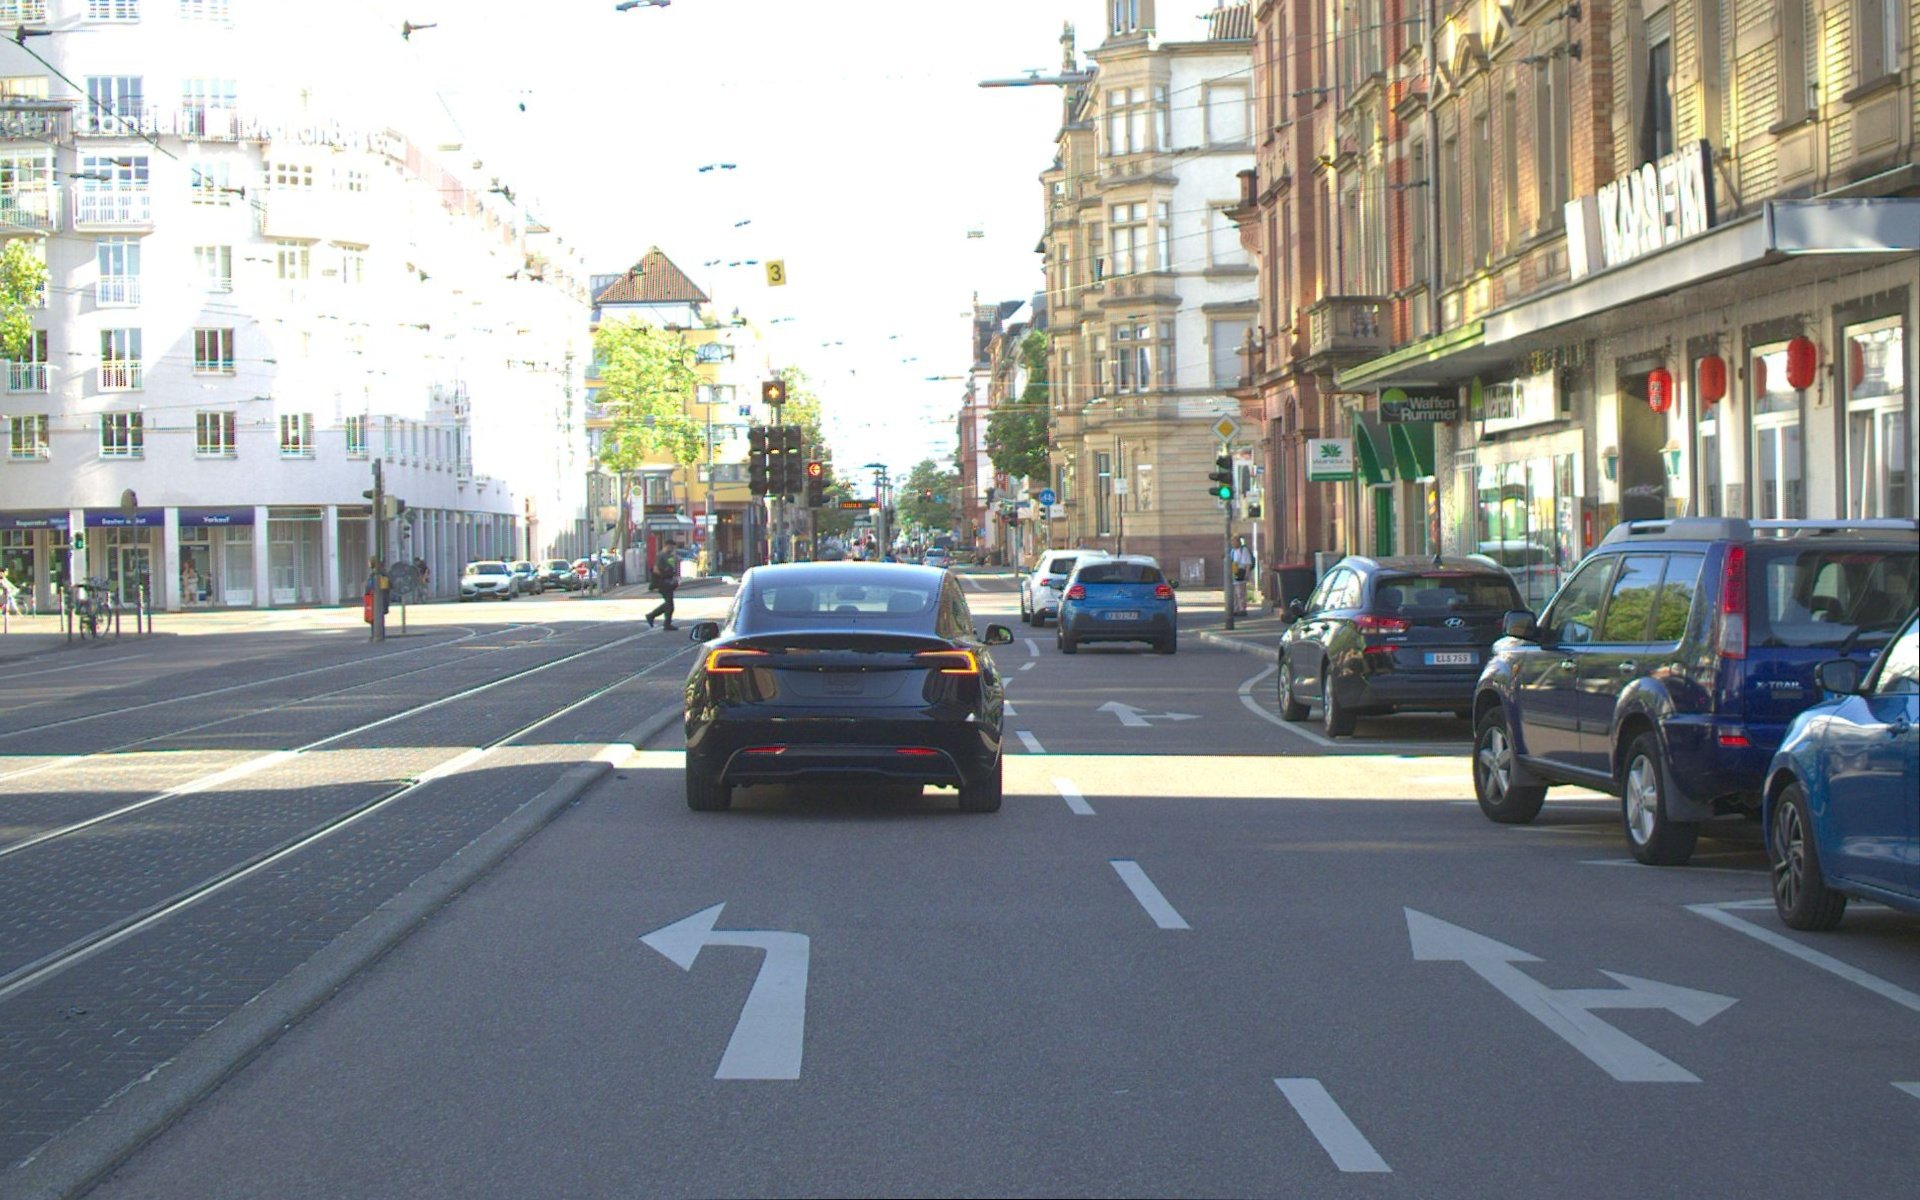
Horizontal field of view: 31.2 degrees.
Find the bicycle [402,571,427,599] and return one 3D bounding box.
[{"bbox_3d":[-19.263,-0.534,121.483,0.594,0.969,1.818,-1,0,0],"label":"bicycle"}]

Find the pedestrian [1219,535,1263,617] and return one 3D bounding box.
[{"bbox_3d":[5.562,-0.483,68.165,0.681,1.602,0.731,-1,1,-10],"label":"pedestrian"}]

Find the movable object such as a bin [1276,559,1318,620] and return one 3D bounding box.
[{"bbox_3d":[6.181,-0.197,63.102,0.663,1.069,0.591,-4,1,1],"label":"movable object such as a bin"}]

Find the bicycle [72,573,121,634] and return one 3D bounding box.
[{"bbox_3d":[-17.465,0.066,69.553,0.497,1.182,2.235,-1,1,-2],"label":"bicycle"}]

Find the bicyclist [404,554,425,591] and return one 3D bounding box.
[{"bbox_3d":[-19.264,-0.976,121.448,0.588,1.281,0.927,-1,0,0],"label":"bicyclist"}]

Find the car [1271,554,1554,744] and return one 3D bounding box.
[{"bbox_3d":[3.727,0.354,28.990,1.690,1.446,4.360,1,1,-1],"label":"car"}]

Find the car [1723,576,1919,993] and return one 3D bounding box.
[{"bbox_3d":[4.197,0.650,12.940,1.713,1.449,3.778,1,0,-1],"label":"car"}]

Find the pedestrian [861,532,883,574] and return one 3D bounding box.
[{"bbox_3d":[-3.817,-2.041,148.854,0.718,1.771,0.564,0,1,35],"label":"pedestrian"}]

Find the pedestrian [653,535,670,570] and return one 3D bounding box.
[{"bbox_3d":[-13.125,-2.084,151.181,0.731,1.522,0.743,0,1,-2],"label":"pedestrian"}]

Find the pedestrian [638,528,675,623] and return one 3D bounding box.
[{"bbox_3d":[-5.722,-0.463,64.886,0.558,1.757,0.895,-3,1,-1],"label":"pedestrian"}]

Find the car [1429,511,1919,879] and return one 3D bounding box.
[{"bbox_3d":[3.968,0.429,18.349,1.690,1.707,4.616,1,0,-8],"label":"car"}]

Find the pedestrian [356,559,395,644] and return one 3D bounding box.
[{"bbox_3d":[-10.580,0.024,62.200,0.500,1.512,0.859,-3,1,-1],"label":"pedestrian"}]

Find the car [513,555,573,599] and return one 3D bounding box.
[{"bbox_3d":[-18.641,-1.033,153.804,2.227,1.904,4.609,-1,1,-2],"label":"car"}]

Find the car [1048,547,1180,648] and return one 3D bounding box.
[{"bbox_3d":[2.294,-0.060,52.036,1.781,1.446,3.654,1,1,-1],"label":"car"}]

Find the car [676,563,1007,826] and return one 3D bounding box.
[{"bbox_3d":[-0.701,0.502,21.099,1.810,1.419,4.154,1,1,-1],"label":"car"}]

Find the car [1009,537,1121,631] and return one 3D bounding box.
[{"bbox_3d":[2.010,-0.296,66.989,1.993,1.737,4.000,1,0,-1],"label":"car"}]

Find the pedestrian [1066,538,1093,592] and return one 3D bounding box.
[{"bbox_3d":[3.978,-1.163,114.188,0.779,1.743,1.093,0,2,-3],"label":"pedestrian"}]

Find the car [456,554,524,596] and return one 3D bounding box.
[{"bbox_3d":[-16.995,-0.929,124.437,1.993,1.446,4.502,-1,1,-2],"label":"car"}]
